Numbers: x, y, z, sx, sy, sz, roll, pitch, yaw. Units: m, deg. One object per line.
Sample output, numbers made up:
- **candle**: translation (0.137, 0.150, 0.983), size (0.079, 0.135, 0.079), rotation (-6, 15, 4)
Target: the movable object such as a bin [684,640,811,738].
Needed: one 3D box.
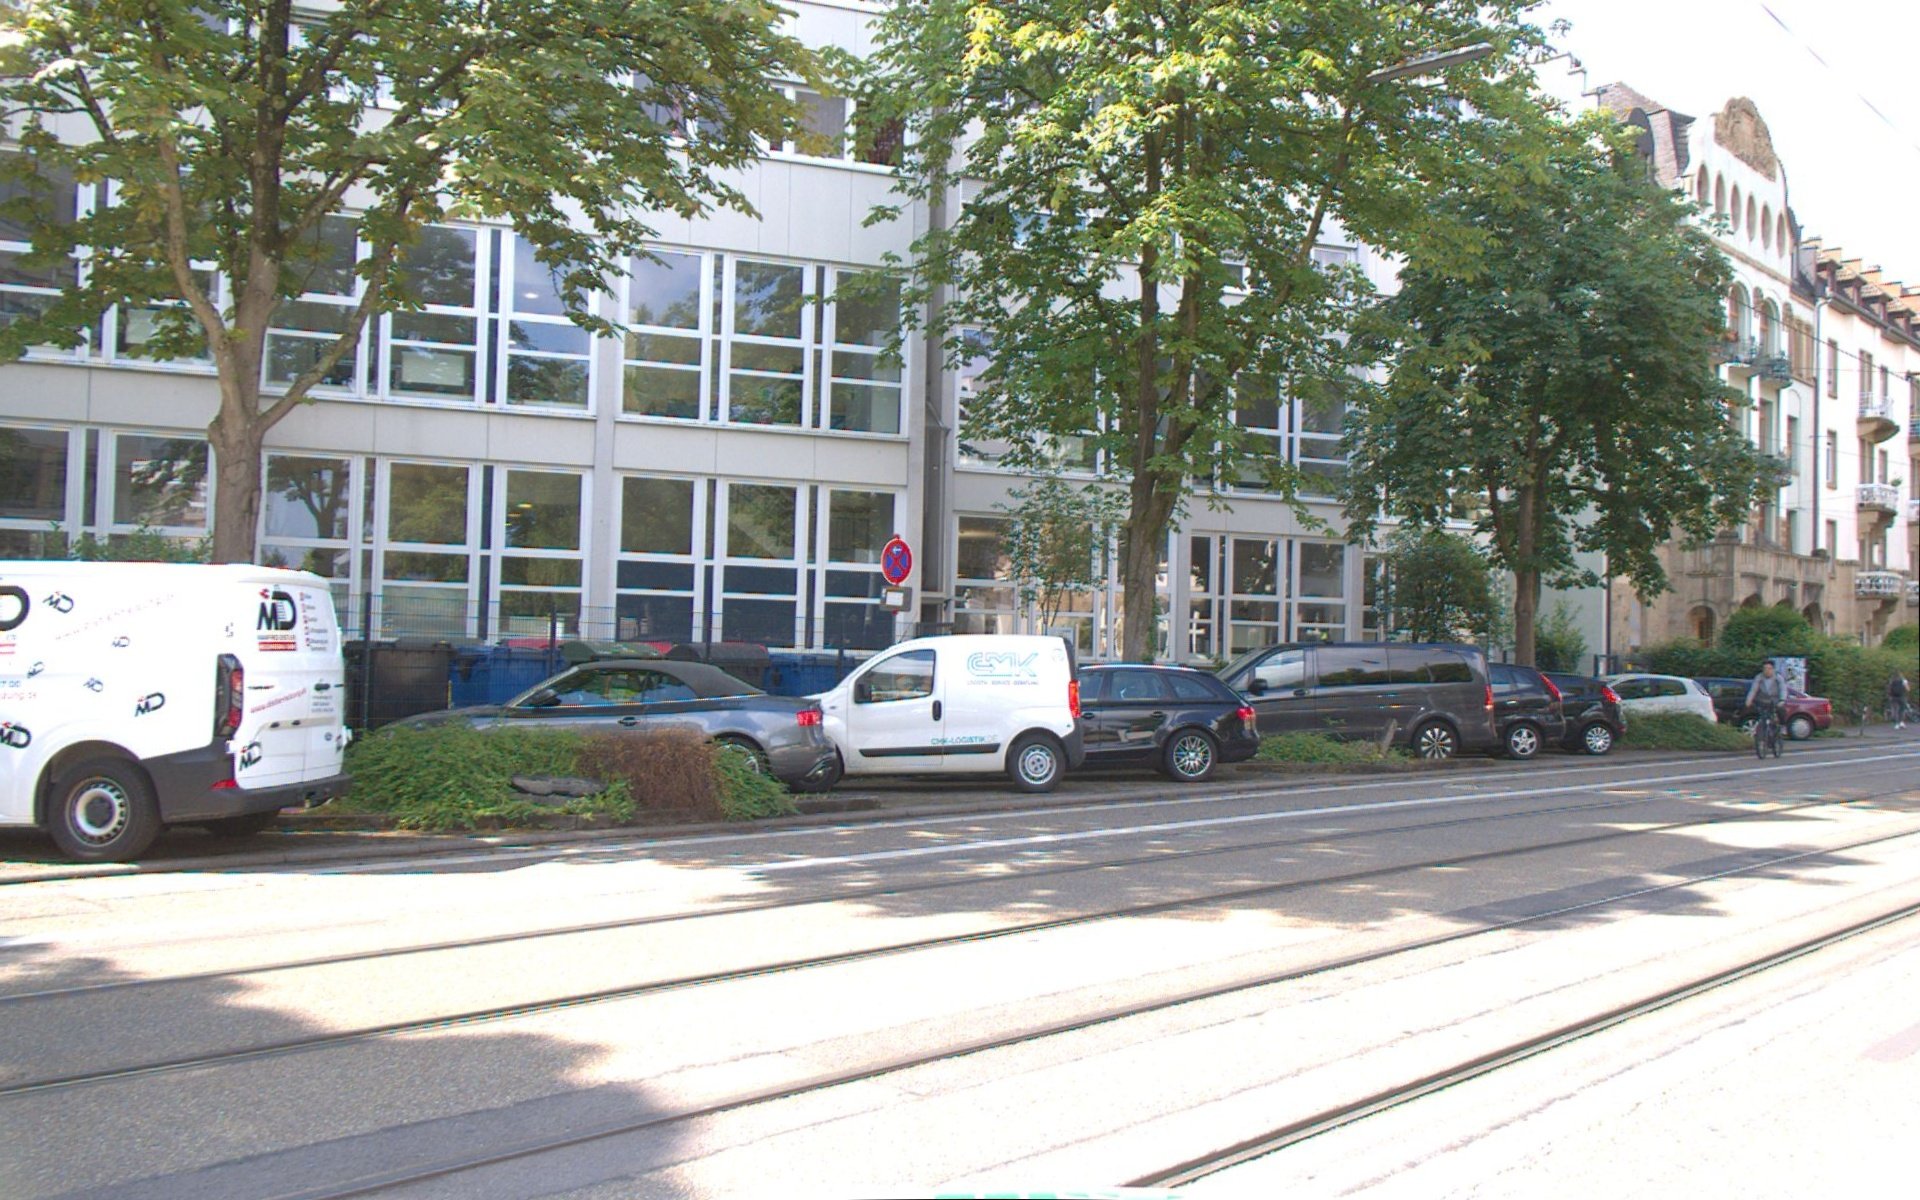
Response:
- **movable object such as a bin**: translation (-3.051, 1.295, 23.812), size (1.147, 1.351, 1.432), rotation (-4, -6, 42)

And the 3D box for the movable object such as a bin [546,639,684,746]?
- **movable object such as a bin**: translation (-4.691, 1.274, 22.550), size (1.174, 1.405, 1.433), rotation (-4, -5, 40)

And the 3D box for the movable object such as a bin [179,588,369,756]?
- **movable object such as a bin**: translation (-7.846, 0.848, 18.943), size (1.365, 1.813, 1.531), rotation (-4, -5, 40)

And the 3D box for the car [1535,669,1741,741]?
- **car**: translation (14.604, 2.260, 35.742), size (3.718, 1.510, 1.697), rotation (0, -3, -2)

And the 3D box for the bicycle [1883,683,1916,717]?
- **bicycle**: translation (28.061, 2.985, 49.382), size (0.378, 0.976, 1.796), rotation (2, -1, 45)

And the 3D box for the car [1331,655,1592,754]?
- **car**: translation (8.485, 1.775, 28.211), size (3.905, 1.621, 1.740), rotation (0, -3, -1)

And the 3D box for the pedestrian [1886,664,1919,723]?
- **pedestrian**: translation (26.210, 2.584, 45.857), size (0.875, 1.595, 0.671), rotation (3, -1, -44)

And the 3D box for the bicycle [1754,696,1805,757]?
- **bicycle**: translation (15.178, 2.323, 30.600), size (0.643, 1.059, 1.995), rotation (-1, -3, 32)

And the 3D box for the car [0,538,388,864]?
- **car**: translation (-6.660, 0.637, 11.548), size (4.573, 2.032, 1.969), rotation (1, -2, 2)

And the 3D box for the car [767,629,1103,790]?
- **car**: translation (-0.262, 1.228, 18.751), size (3.627, 1.723, 1.760), rotation (0, -3, 0)

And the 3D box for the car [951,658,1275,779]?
- **car**: translation (1.867, 1.491, 21.060), size (3.907, 1.443, 1.759), rotation (0, -3, -2)

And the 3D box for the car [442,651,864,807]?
- **car**: translation (-2.970, 1.254, 16.478), size (3.912, 1.443, 1.719), rotation (0, -3, -8)

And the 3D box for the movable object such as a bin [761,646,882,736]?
- **movable object such as a bin**: translation (-2.076, 1.384, 24.879), size (1.151, 1.306, 1.432), rotation (-4, -6, 43)

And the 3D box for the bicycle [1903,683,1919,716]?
- **bicycle**: translation (29.498, 3.043, 50.881), size (0.378, 0.976, 1.796), rotation (2, -1, 45)

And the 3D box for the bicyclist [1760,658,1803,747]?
- **bicyclist**: translation (15.254, 1.893, 30.708), size (0.630, 1.604, 0.740), rotation (-1, -3, 33)

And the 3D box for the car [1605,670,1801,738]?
- **car**: translation (17.010, 2.382, 37.984), size (3.715, 1.510, 1.698), rotation (-1, -3, 4)

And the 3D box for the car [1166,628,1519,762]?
- **car**: translation (5.890, 1.479, 25.915), size (5.047, 1.989, 1.915), rotation (0, -3, -2)

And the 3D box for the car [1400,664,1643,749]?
- **car**: translation (10.305, 1.957, 30.565), size (3.904, 1.510, 1.741), rotation (0, -3, 1)

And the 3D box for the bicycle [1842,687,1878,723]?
- **bicycle**: translation (25.335, 2.952, 46.566), size (0.378, 0.976, 1.796), rotation (2, -1, 45)

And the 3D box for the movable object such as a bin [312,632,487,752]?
- **movable object such as a bin**: translation (-6.800, 1.135, 20.101), size (1.365, 1.388, 1.531), rotation (-4, -5, 40)

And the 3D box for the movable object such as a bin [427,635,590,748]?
- **movable object such as a bin**: translation (-5.819, 1.201, 21.355), size (1.365, 1.388, 1.531), rotation (-4, -5, 40)

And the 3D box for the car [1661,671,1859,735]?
- **car**: translation (19.336, 2.488, 40.077), size (3.876, 1.510, 1.846), rotation (0, -3, 1)
